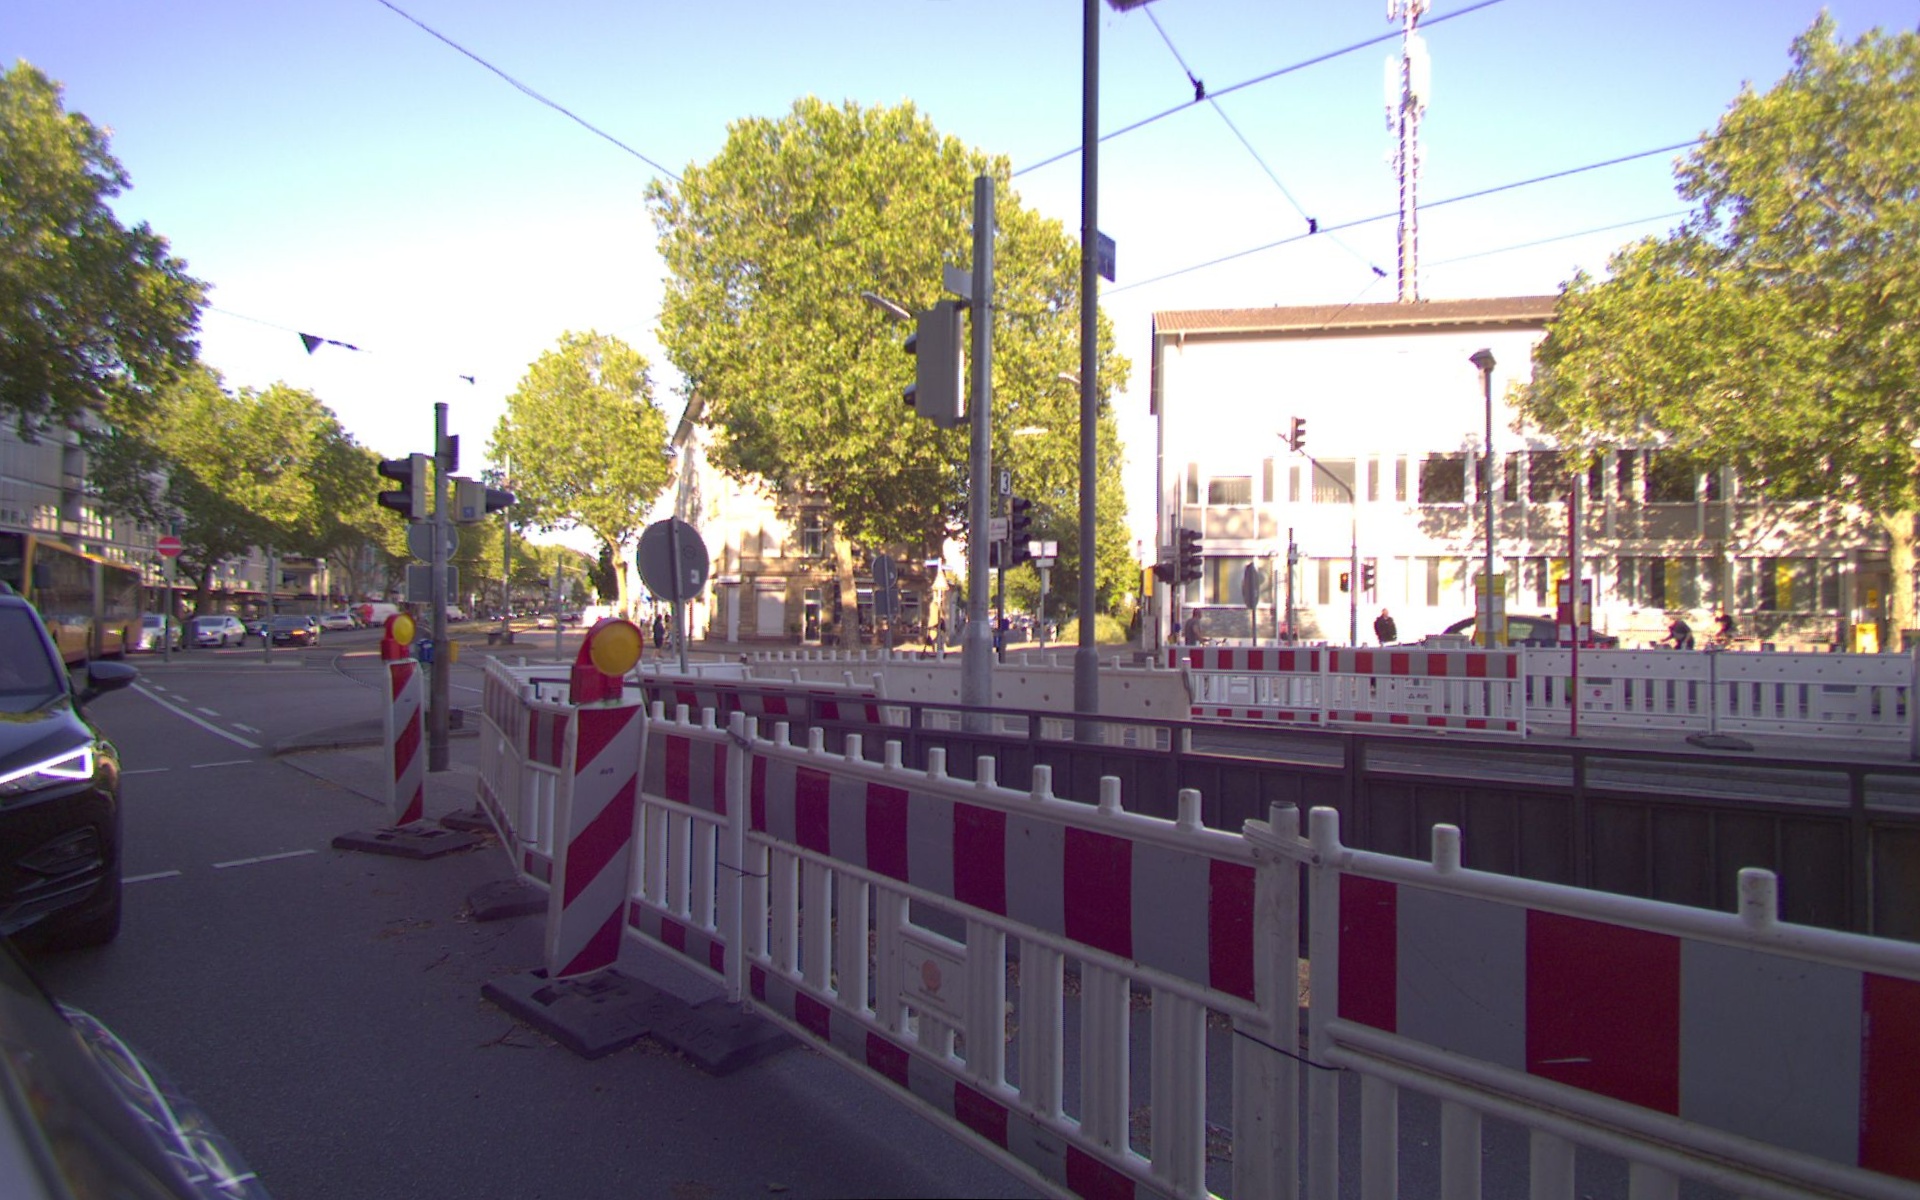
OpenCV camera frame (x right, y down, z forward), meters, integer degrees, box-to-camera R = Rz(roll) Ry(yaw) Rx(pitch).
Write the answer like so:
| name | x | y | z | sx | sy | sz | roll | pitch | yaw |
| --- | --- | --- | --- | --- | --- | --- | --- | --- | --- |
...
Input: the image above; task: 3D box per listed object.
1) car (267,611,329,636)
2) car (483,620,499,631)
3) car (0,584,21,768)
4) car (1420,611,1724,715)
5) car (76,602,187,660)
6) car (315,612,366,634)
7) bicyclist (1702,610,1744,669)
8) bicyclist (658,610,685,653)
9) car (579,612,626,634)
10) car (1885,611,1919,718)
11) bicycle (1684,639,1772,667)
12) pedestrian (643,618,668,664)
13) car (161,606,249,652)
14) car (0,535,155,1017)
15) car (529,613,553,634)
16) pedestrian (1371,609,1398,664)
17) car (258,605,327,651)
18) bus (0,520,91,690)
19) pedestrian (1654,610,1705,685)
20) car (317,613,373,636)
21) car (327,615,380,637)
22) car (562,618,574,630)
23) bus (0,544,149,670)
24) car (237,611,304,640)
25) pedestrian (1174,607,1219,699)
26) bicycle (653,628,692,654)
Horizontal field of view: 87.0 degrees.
| name | x | y | z | sx | sy | sz | roll | pitch | yaw |
| --- | --- | --- | --- | --- | --- | --- | --- | --- | --- |
| car | -53.924 | 1.915 | 82.423 | 3.938 | 2.029 | 2.002 | 1 | -2 | -42 |
| car | -74.157 | 4.012 | 159.982 | 1.809 | 1.715 | 4.143 | 1 | -2 | -19 |
| car | -10.743 | 0.691 | 9.813 | 4.073 | 1.656 | 1.973 | -1 | -2 | 41 |
| car | 11.068 | 1.056 | 18.454 | 4.552 | 1.674 | 1.974 | -1 | -2 | 38 |
| car | -30.593 | 1.138 | 37.504 | 1.965 | 2.029 | 4.111 | 1 | -1 | -21 |
| car | -60.083 | 2.250 | 98.205 | 3.938 | 2.029 | 2.002 | 1 | -2 | -42 |
| bicyclist | 22.767 | 1.175 | 30.213 | 0.757 | 1.741 | 0.671 | 0 | -2 | 13 |
| bicyclist | -13.843 | 1.501 | 48.511 | 0.983 | 2.029 | 0.844 | -1 | -2 | 40 |
| car | -34.207 | 2.184 | 96.877 | 1.990 | 2.029 | 3.963 | 0 | -2 | 27 |
| car | 17.138 | 1.018 | 15.652 | 3.994 | 1.674 | 1.974 | -1 | -2 | 38 |
| bicycle | 22.871 | 1.584 | 30.181 | 1.971 | 0.788 | 0.678 | 0 | -1 | 13 |
| pedestrian | -10.418 | 1.392 | 34.612 | 0.594 | 1.545 | 0.746 | 1 | -2 | -38 |
| car | -34.645 | 1.327 | 46.570 | 1.966 | 2.029 | 4.012 | 1 | -1 | -17 |
| car | -5.242 | 0.638 | 4.565 | 3.998 | 1.719 | 1.818 | -1 | -2 | 41 |
| car | -40.726 | 2.270 | 98.425 | 1.965 | 2.029 | 4.013 | 1 | -1 | -20 |
| pedestrian | 12.303 | 1.045 | 29.323 | 0.649 | 1.564 | 0.563 | -1 | -2 | 28 |
| car | -31.438 | 1.312 | 47.778 | 1.965 | 2.029 | 4.013 | 1 | -1 | -22 |
| bus | -20.851 | 0.145 | 21.667 | 2.678 | 3.130 | 8.641 | 1 | -2 | -36 |
| pedestrian | 18.200 | 1.188 | 25.615 | 0.923 | 1.847 | 0.693 | -1 | -2 | 28 |
| car | -54.752 | 2.194 | 90.174 | 3.938 | 2.029 | 2.002 | 1 | -2 | -42 |
| car | -56.955 | 2.459 | 95.050 | 3.938 | 2.029 | 2.002 | 1 | -2 | -42 |
| car | -60.187 | 3.717 | 155.477 | 1.661 | 1.866 | 4.013 | 1 | -1 | -20 |
| bus | -25.717 | 0.247 | 28.967 | 2.676 | 3.130 | 8.622 | 1 | -2 | -31 |
| car | -50.669 | 1.878 | 74.414 | 3.932 | 2.029 | 2.006 | 1 | -2 | -32 |
| pedestrian | 4.658 | 1.033 | 19.976 | 0.545 | 1.760 | 0.693 | 1 | -2 | -24 |
| bicycle | -13.785 | 1.942 | 48.475 | 0.839 | 1.202 | 2.469 | 2 | -2 | -42 |
